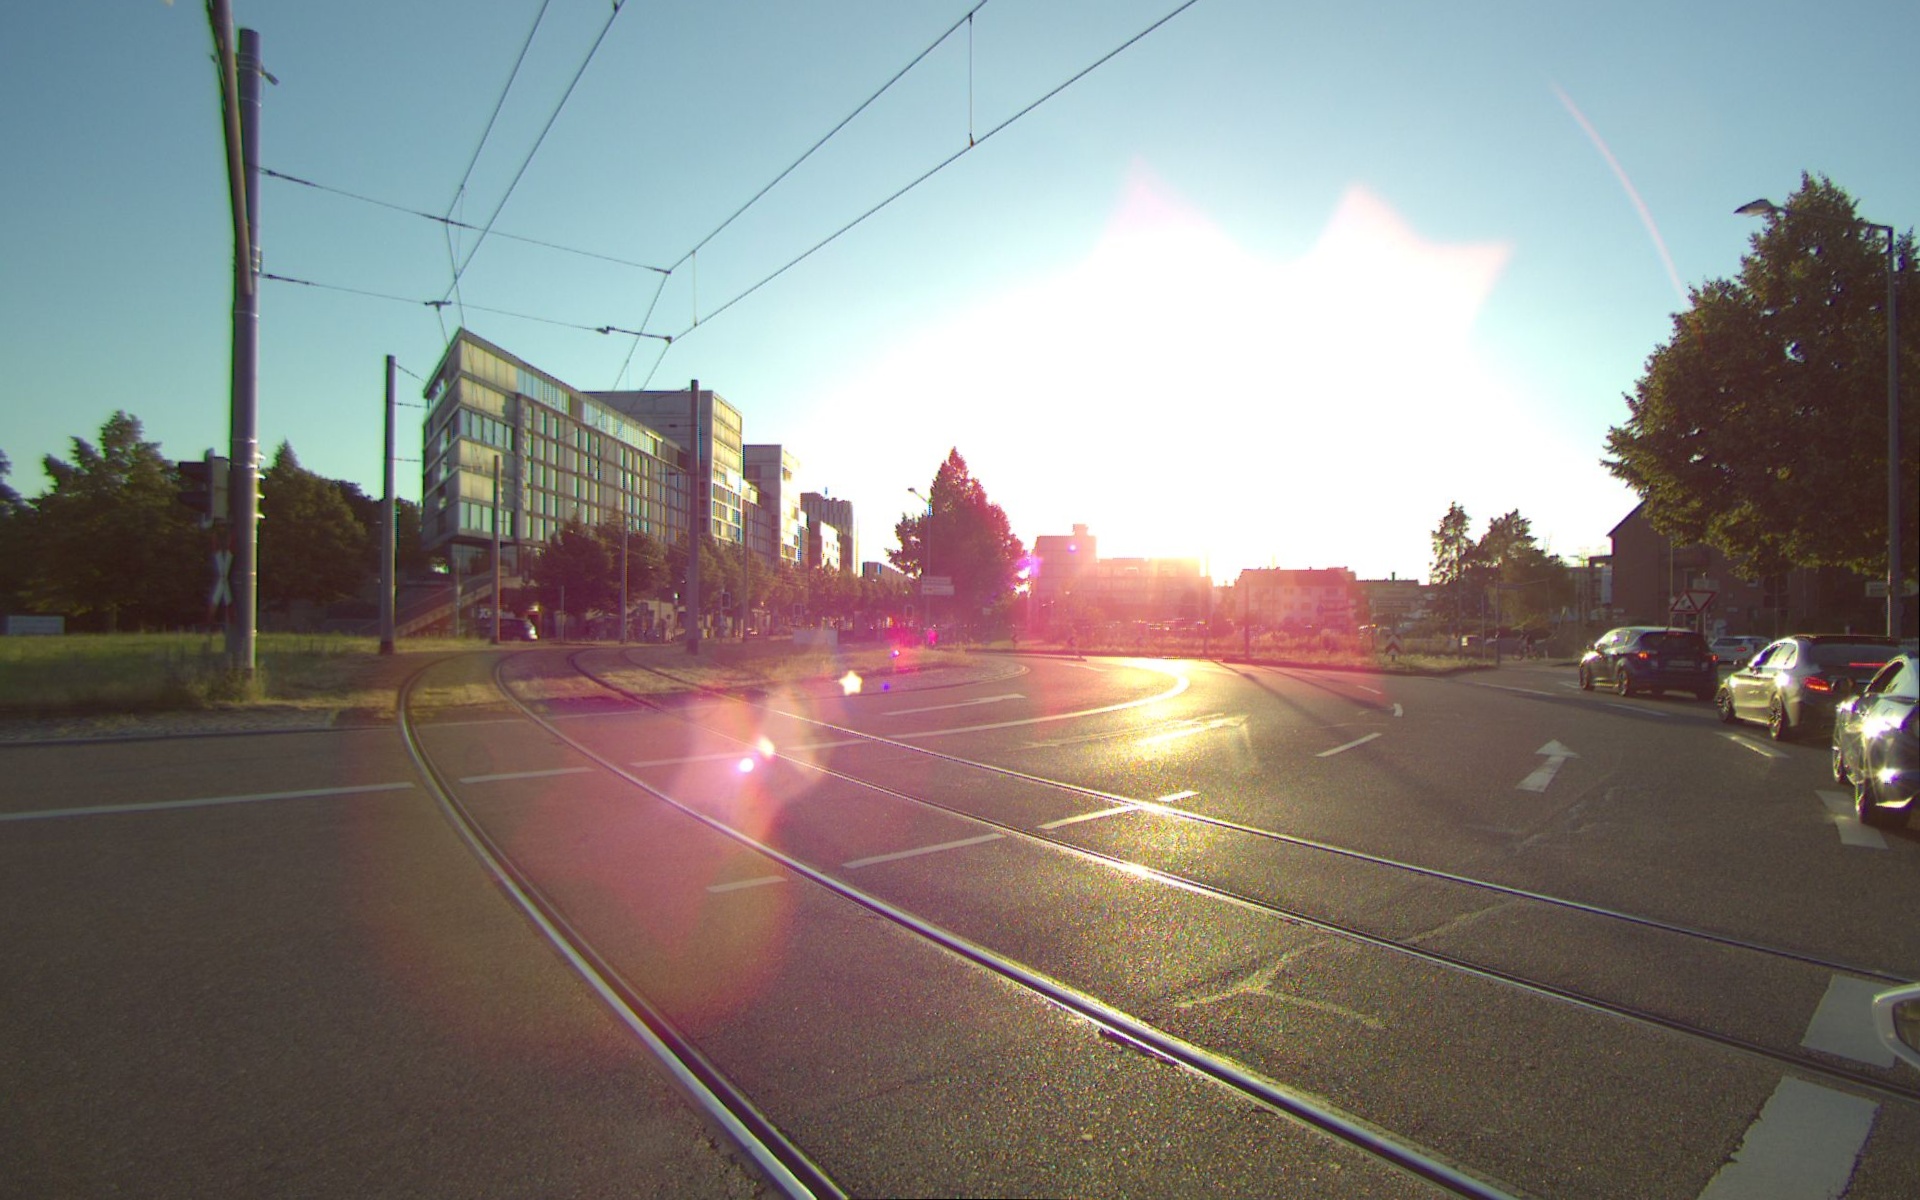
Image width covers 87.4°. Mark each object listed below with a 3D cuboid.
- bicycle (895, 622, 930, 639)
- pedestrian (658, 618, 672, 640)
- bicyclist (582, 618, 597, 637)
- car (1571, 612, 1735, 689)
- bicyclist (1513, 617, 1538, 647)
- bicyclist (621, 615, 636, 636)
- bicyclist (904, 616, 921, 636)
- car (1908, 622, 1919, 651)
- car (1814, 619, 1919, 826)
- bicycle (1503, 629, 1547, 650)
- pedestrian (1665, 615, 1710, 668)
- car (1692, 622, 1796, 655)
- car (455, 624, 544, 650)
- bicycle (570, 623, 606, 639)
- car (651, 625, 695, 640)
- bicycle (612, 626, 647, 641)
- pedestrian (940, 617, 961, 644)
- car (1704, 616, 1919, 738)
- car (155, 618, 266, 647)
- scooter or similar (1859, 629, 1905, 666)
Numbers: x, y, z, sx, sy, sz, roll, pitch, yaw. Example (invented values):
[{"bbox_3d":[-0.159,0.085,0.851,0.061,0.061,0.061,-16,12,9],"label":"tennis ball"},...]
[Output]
[{"bbox_3d":[-3.408,2.172,71.796,2.362,1.182,0.754,0,-1,21],"label":"bicycle"},{"bbox_3d":[-22.794,2.224,77.621,0.871,1.730,0.794,0,-1,-3],"label":"pedestrian"},{"bbox_3d":[-27.419,2.026,74.415,0.863,1.411,0.754,0,-1,-7],"label":"bicyclist"},{"bbox_3d":[16.186,1.144,23.723,1.918,1.623,4.080,1,-2,15],"label":"car"},{"bbox_3d":[31.151,1.773,55.330,0.963,1.634,0.751,1,-1,-20],"label":"bicyclist"},{"bbox_3d":[-24.890,1.896,75.493,0.961,1.545,0.753,0,-1,-10],"label":"bicyclist"},{"bbox_3d":[-3.402,1.845,71.778,0.959,1.412,0.754,0,-1,21],"label":"bicyclist"},{"bbox_3d":[49.240,1.793,49.639,3.855,1.420,1.874,1,-1,-19],"label":"car"},{"bbox_3d":[8.312,0.877,8.060,1.926,1.360,4.652,2,0,37],"label":"car"},{"bbox_3d":[31.145,2.170,55.348,2.373,1.182,0.751,1,-1,-21],"label":"bicycle"},{"bbox_3d":[24.026,1.367,33.194,0.832,1.708,0.885,0,-1,-13],"label":"pedestrian"},{"bbox_3d":[34.589,1.680,44.324,3.856,1.420,1.874,0,-1,-20],"label":"car"},{"bbox_3d":[-26.529,2.124,57.925,4.235,1.451,1.945,0,-1,-1],"label":"car"},{"bbox_3d":[-27.524,2.290,74.392,2.364,1.182,0.754,0,-1,-6],"label":"bicycle"},{"bbox_3d":[-31.049,3.536,108.728,4.248,1.594,1.946,0,-1,6],"label":"car"},{"bbox_3d":[-24.818,2.518,75.497,2.366,1.182,0.753,0,-1,-10],"label":"bicycle"},{"bbox_3d":[-0.658,2.135,70.712,1.140,1.851,0.979,0,-1,25],"label":"pedestrian"},{"bbox_3d":[12.236,0.980,14.242,1.921,1.446,4.425,1,-1,26],"label":"car"},{"bbox_3d":[-39.650,1.720,53.294,4.545,1.451,1.927,0,-1,-33],"label":"car"},{"bbox_3d":[32.296,1.652,35.196,1.102,1.255,0.442,0,-1,22],"label":"scooter or similar"}]
